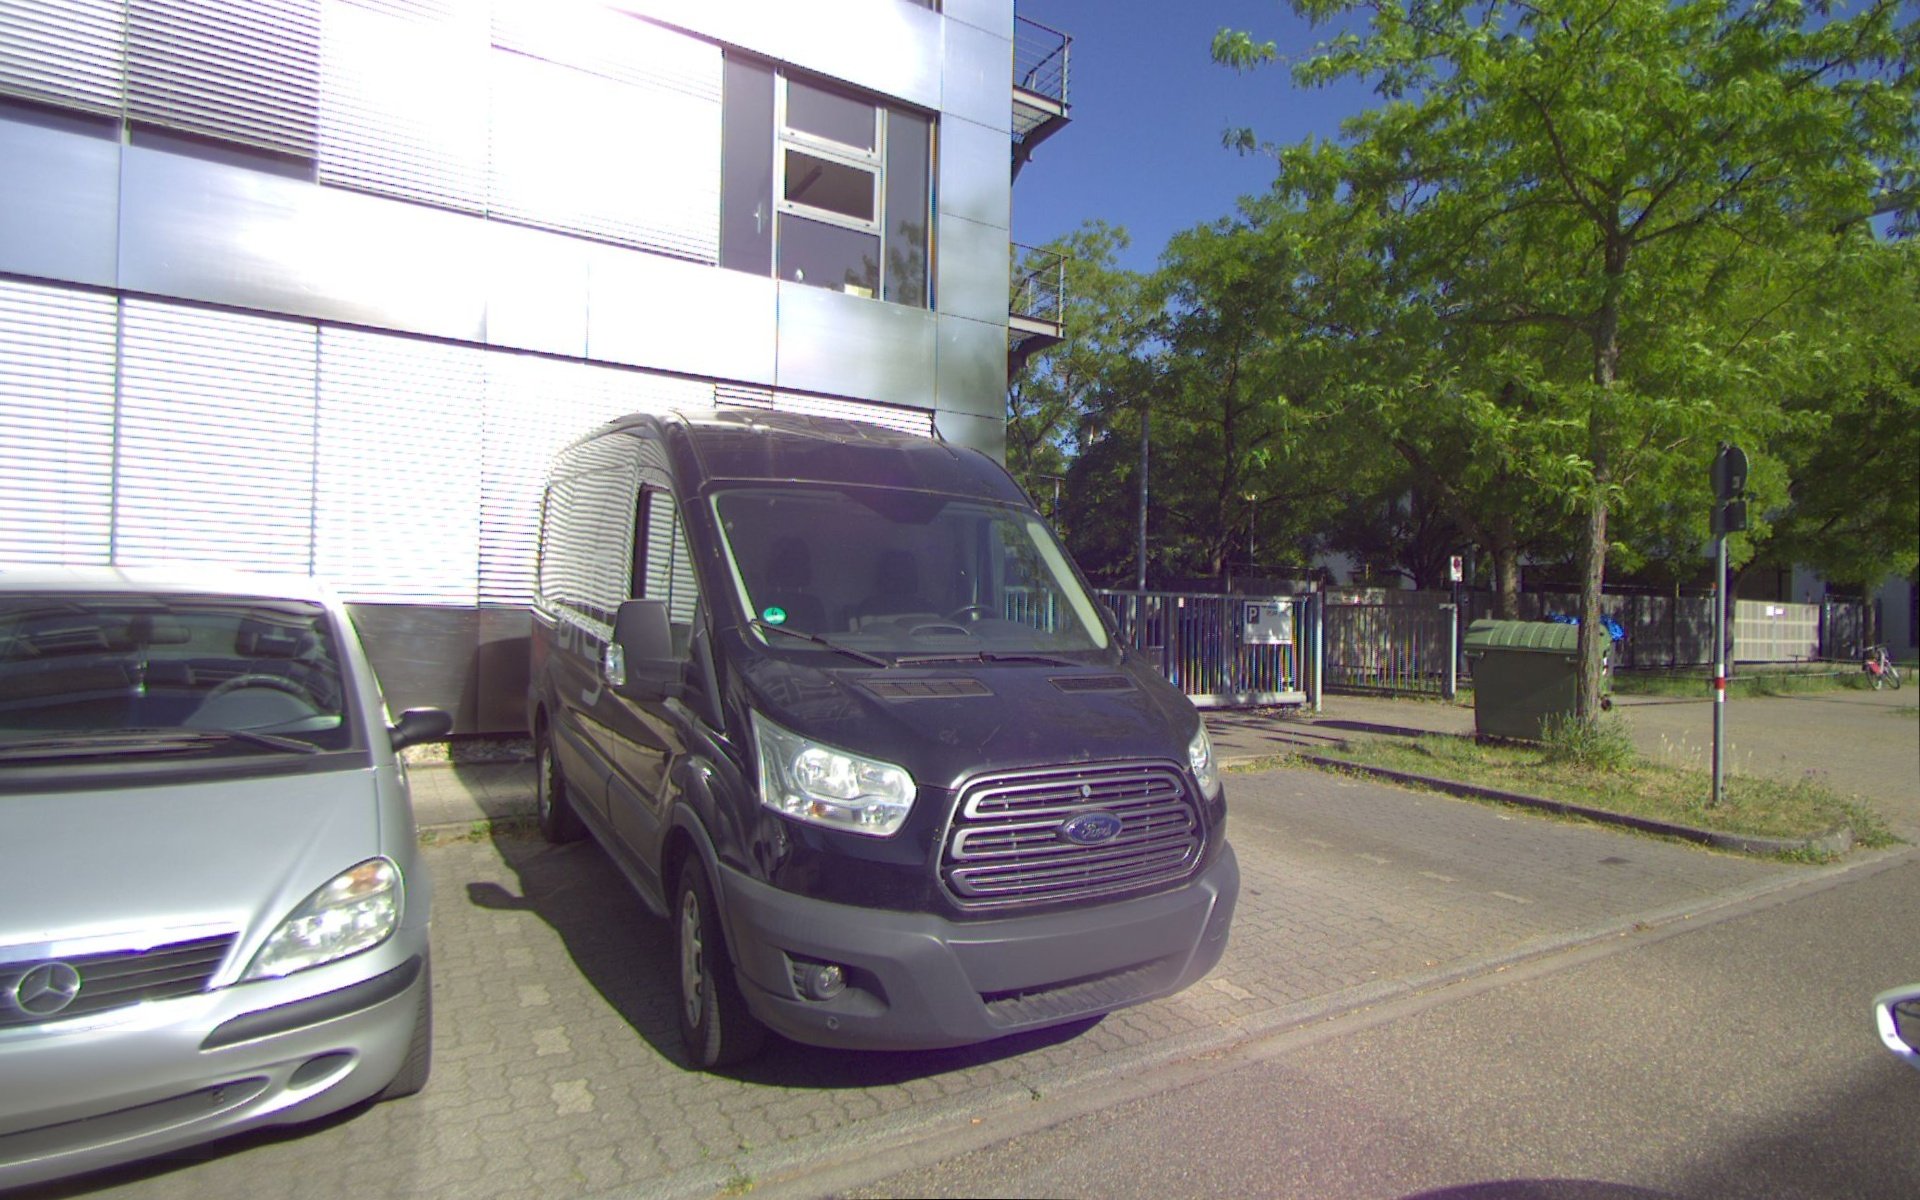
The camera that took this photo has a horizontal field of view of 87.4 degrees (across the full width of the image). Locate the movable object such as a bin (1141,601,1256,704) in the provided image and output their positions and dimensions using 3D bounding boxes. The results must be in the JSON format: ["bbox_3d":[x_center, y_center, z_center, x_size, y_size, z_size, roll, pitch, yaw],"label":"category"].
[{"bbox_3d":[3.699,0.808,15.661,1.000,1.505,1.474,2,-2,-30],"label":"movable object such as a bin"}]

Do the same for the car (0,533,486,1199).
[{"bbox_3d":[-3.118,0.675,3.857,1.871,1.667,3.809,-1,1,-33],"label":"car"}]

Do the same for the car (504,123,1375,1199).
[{"bbox_3d":[-0.875,0.180,5.342,2.206,2.657,5.427,2,0,-30],"label":"car"}]

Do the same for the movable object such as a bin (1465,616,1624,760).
[{"bbox_3d":[6.413,0.912,11.021,1.279,1.432,1.221,1,-1,42],"label":"movable object such as a bin"}]

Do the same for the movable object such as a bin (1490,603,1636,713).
[{"bbox_3d":[10.064,0.954,16.805,1.504,1.618,1.408,4,2,-27],"label":"movable object such as a bin"}]

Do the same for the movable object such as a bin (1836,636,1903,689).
[{"bbox_3d":[21.448,1.460,23.680,1.913,1.197,0.659,1,-1,-31],"label":"movable object such as a bin"}]
